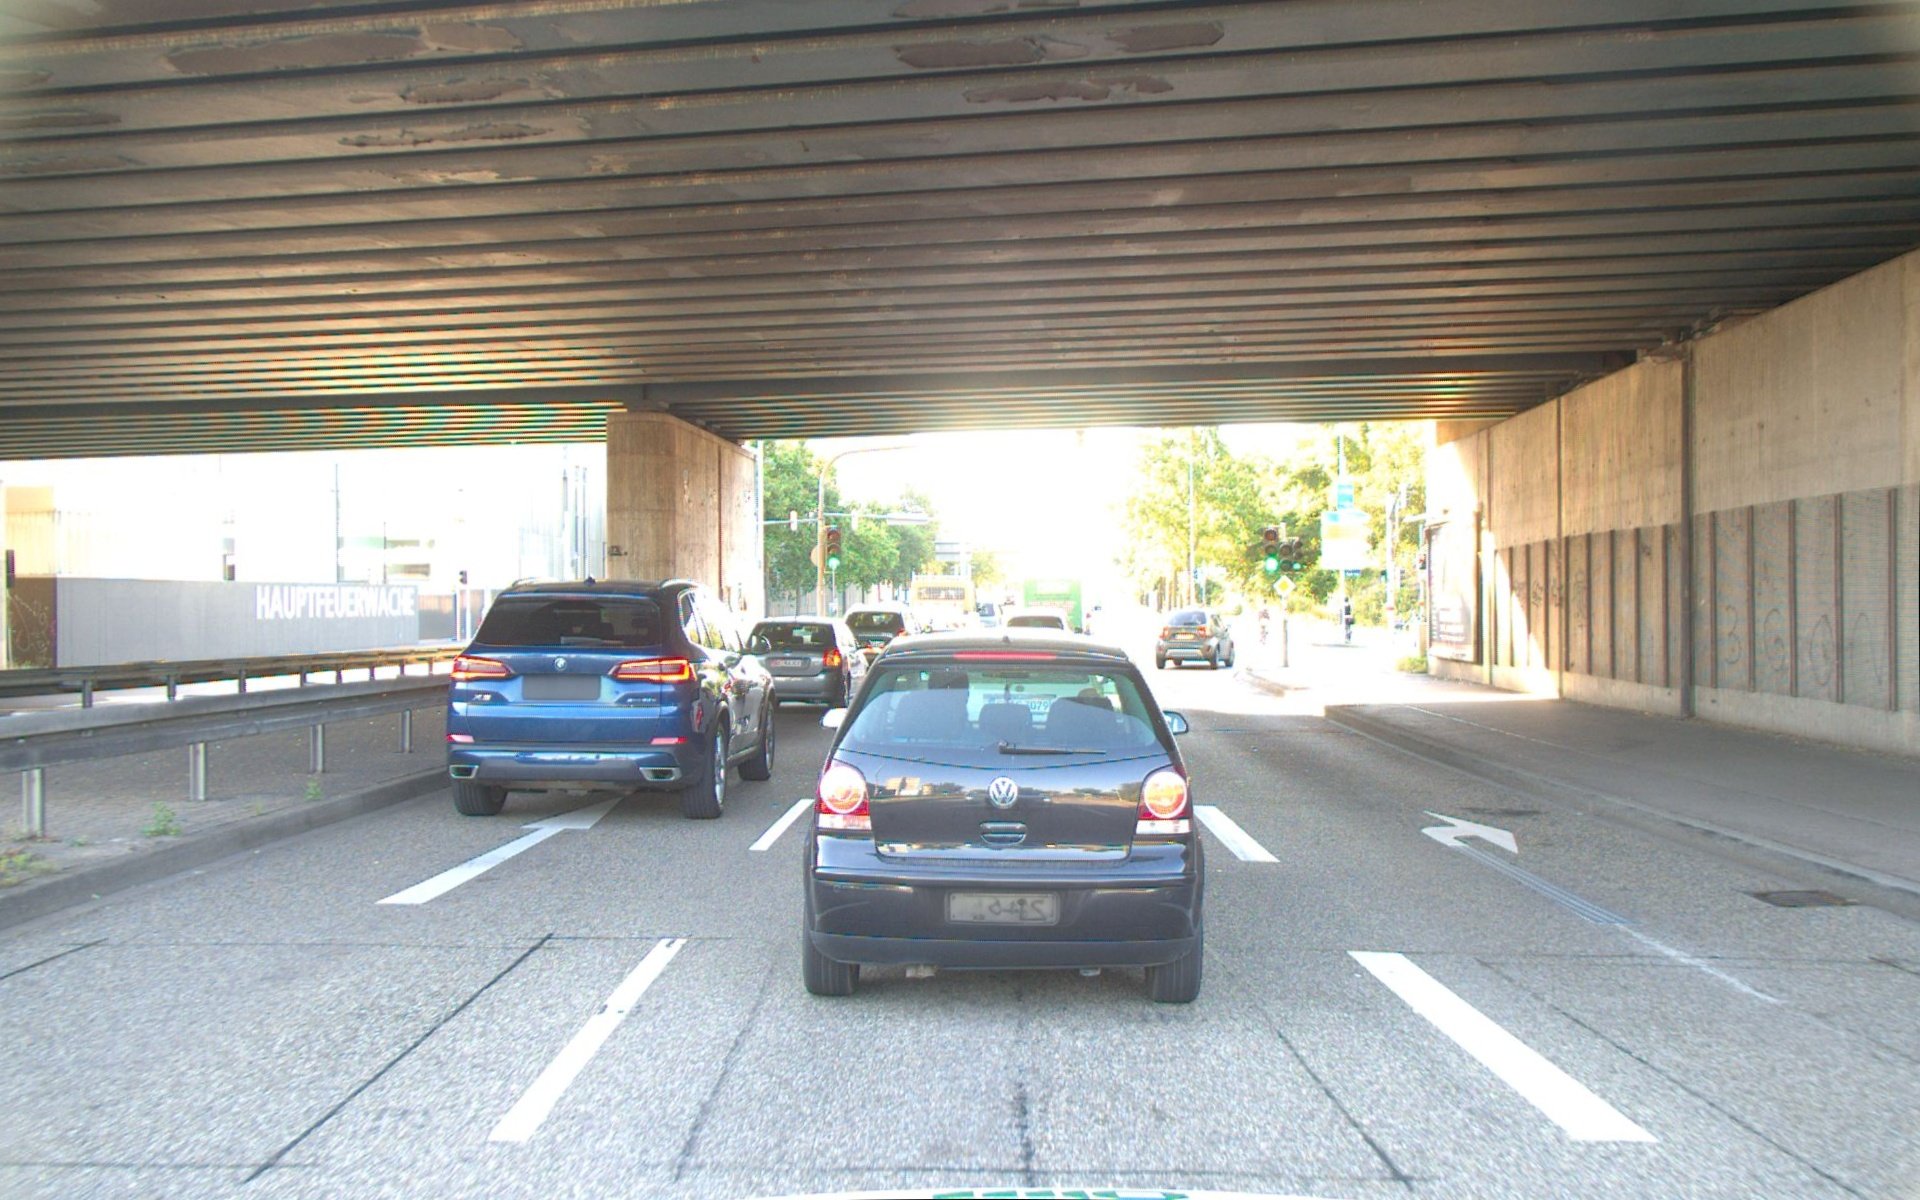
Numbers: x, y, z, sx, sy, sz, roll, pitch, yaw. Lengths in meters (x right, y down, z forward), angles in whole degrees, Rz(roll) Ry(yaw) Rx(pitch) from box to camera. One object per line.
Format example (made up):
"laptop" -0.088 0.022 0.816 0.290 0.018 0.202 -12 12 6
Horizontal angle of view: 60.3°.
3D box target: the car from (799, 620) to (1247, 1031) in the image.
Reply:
"car" 0.303 0.833 7.789 1.583 1.434 3.684 1 -1 2

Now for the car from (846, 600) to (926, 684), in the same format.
"car" -1.575 0.895 36.327 1.583 1.709 3.682 1 -1 0

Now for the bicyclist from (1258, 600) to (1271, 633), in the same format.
"bicyclist" 11.635 0.640 63.204 0.418 1.254 0.460 -1 -1 5

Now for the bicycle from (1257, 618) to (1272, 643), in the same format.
"bicycle" 11.636 1.152 63.236 0.428 0.930 1.027 -2 -1 5

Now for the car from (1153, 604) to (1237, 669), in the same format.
"car" 6.431 0.983 44.973 1.700 1.659 4.064 1 -1 16

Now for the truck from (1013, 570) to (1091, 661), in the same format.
"truck" 2.561 0.430 45.450 1.954 2.356 4.002 1 -1 5

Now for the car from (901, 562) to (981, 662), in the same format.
"car" -0.481 0.345 46.612 2.093 2.621 5.087 1 -1 0

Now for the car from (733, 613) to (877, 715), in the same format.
"car" -2.336 0.950 25.784 1.582 1.434 3.685 1 -1 5

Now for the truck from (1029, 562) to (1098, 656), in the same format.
"truck" 3.198 0.296 50.421 1.954 2.715 4.002 1 -1 5

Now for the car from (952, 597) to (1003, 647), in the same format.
"car" 0.657 0.799 59.792 1.582 1.709 3.685 1 -1 4

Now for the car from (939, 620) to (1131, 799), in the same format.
"car" 0.619 0.924 15.635 1.546 1.438 4.062 1 -1 0

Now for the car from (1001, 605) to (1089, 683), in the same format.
"car" 1.936 0.953 36.640 1.758 1.586 4.002 1 -1 5

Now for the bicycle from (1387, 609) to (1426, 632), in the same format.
"bicycle" 20.576 0.944 76.210 1.628 1.008 0.578 -1 2 22

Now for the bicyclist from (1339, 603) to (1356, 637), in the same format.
"bicyclist" 15.231 0.788 64.976 0.532 1.339 0.836 1 -1 5

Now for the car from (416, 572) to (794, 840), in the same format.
"car" -2.625 0.743 13.435 1.952 1.764 4.533 1 -1 1

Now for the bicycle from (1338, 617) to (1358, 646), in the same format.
"bicycle" 15.231 1.242 64.955 0.552 1.132 1.622 1 -1 5
